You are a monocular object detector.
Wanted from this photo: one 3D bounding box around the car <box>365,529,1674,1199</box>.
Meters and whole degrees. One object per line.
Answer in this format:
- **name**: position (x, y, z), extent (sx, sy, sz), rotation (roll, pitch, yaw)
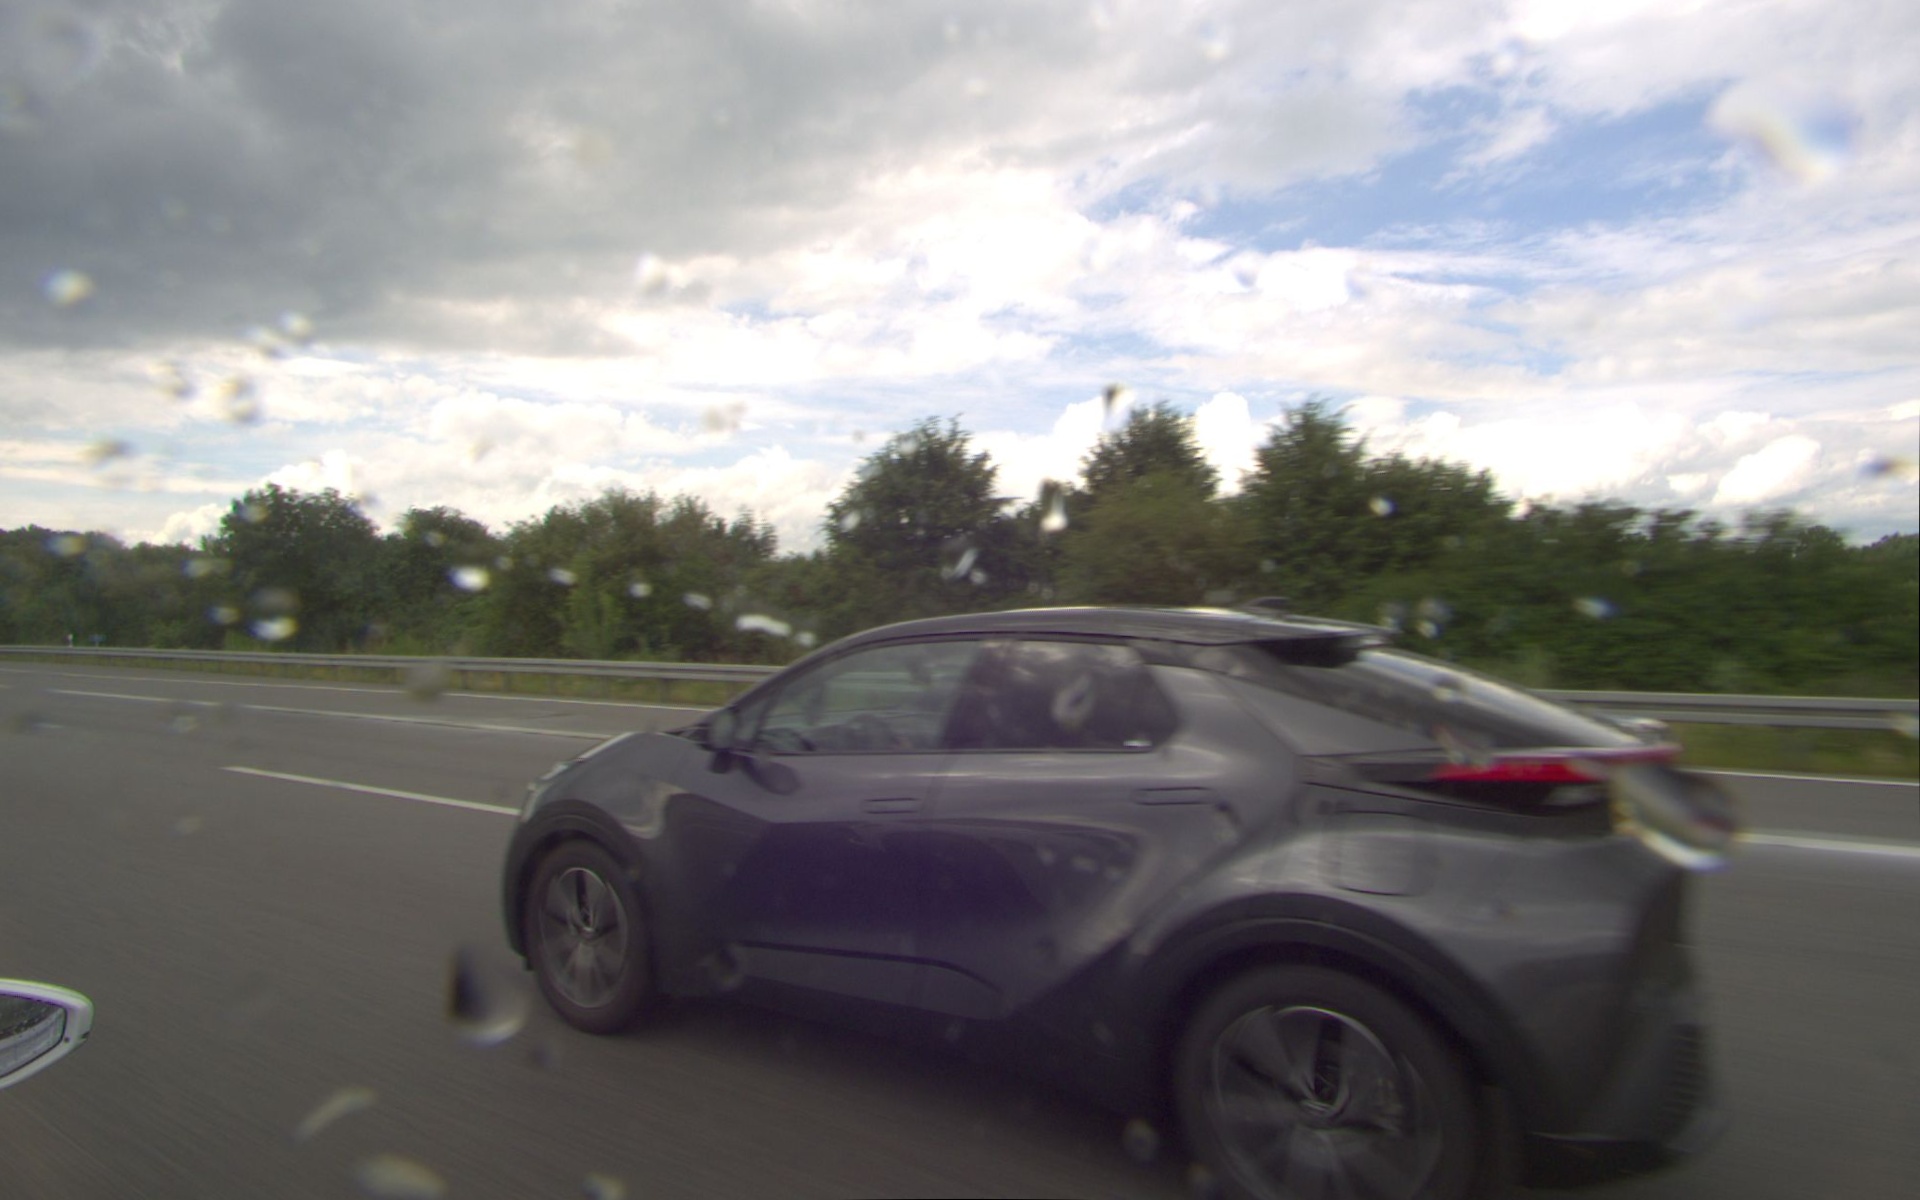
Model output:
- **car**: position (-0.145, 0.736, 3.821), extent (4.531, 1.634, 1.778), rotation (-1, -1, 32)
